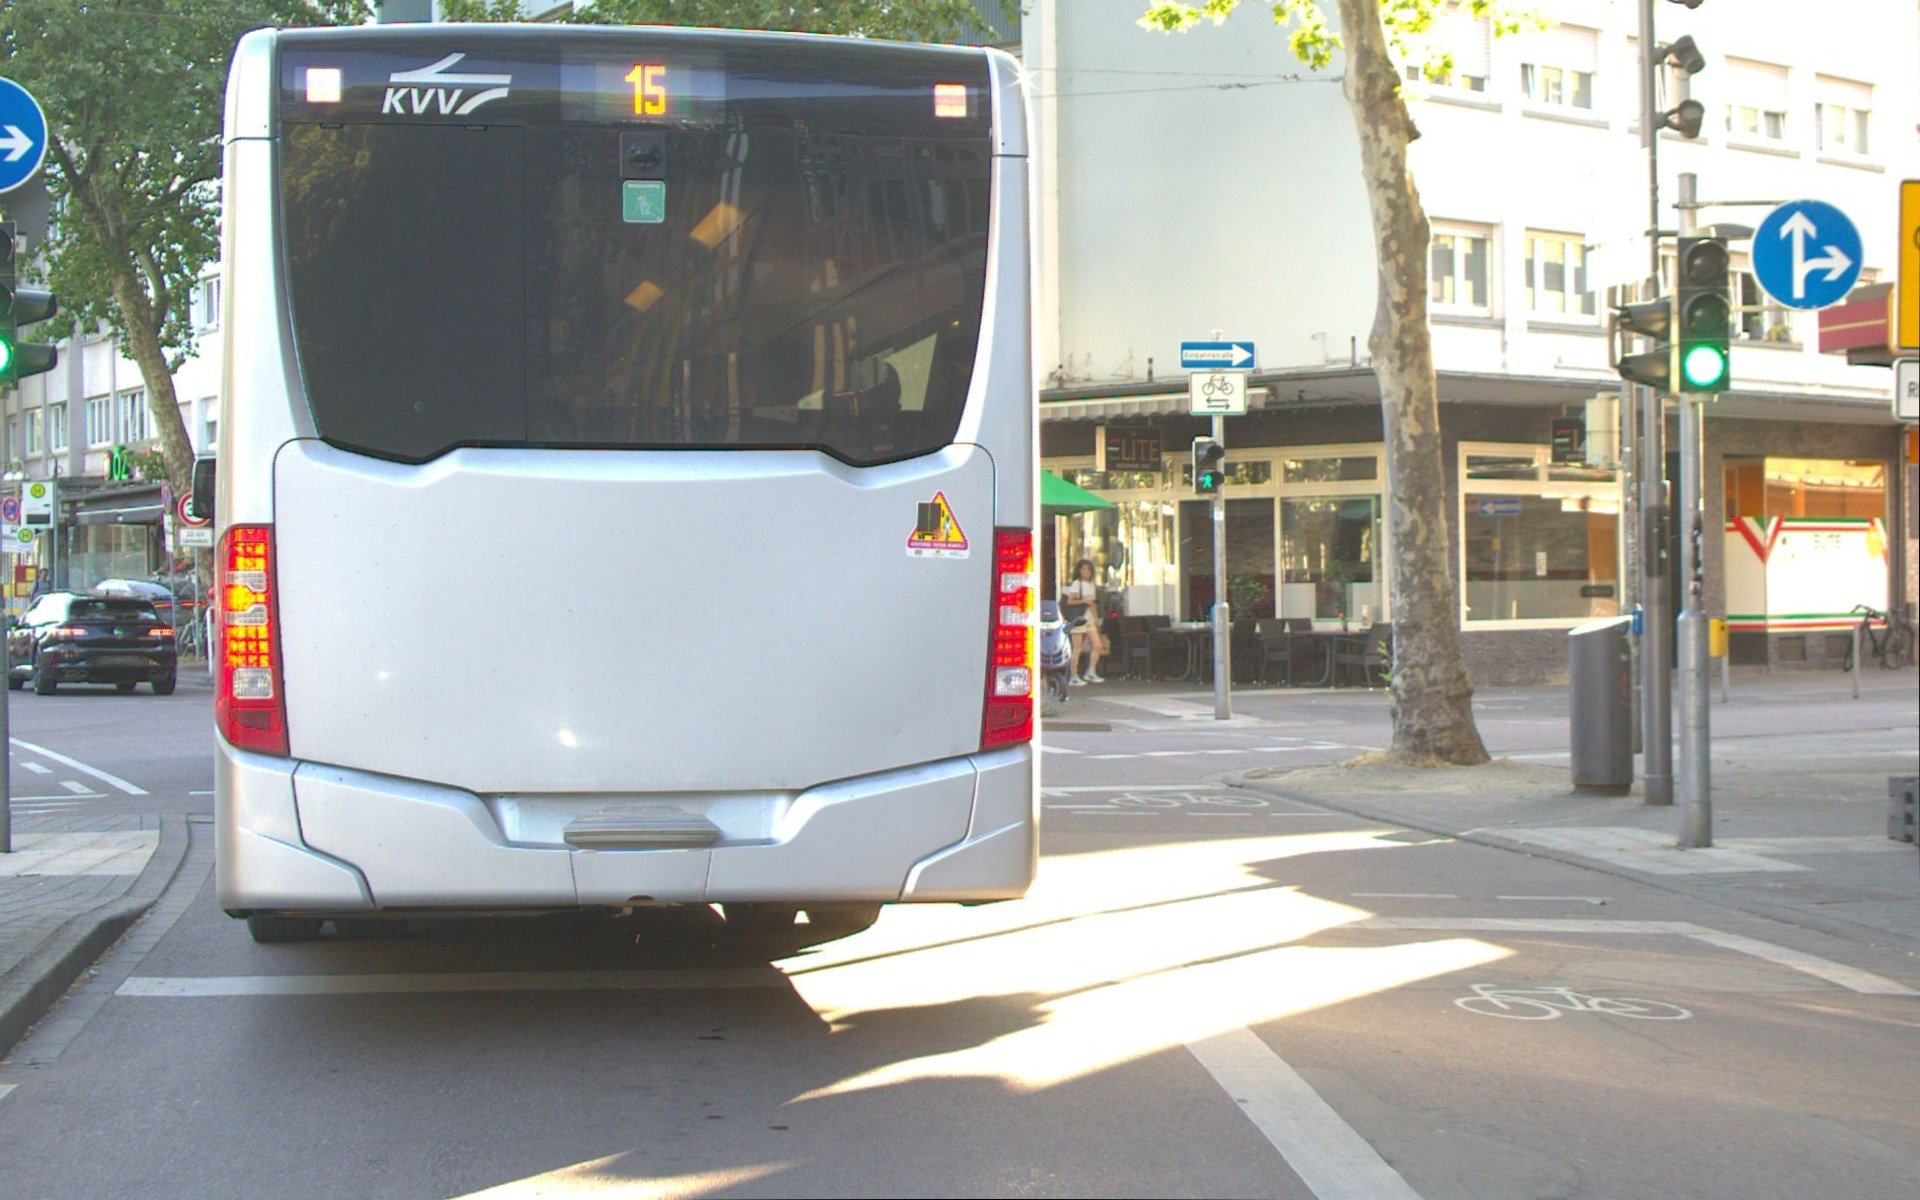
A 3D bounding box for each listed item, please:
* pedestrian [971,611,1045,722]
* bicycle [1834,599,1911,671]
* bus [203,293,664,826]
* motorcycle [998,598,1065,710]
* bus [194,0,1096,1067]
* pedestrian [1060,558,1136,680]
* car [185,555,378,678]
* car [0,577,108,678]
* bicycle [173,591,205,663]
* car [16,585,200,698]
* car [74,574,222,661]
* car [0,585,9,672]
[{"bbox_3d":[0.547,0.764,39.591,0.550,1.239,0.732,1,0,-26],"label":"pedestrian"},{"bbox_3d":[13.481,0.518,50.760,0.294,1.037,1.714,-3,-2,43],"label":"bicycle"},{"bbox_3d":[-4.130,-0.245,25.160,2.657,3.088,10.218,0,0,-12],"label":"bus"},{"bbox_3d":[0.750,0.562,36.493,0.570,1.154,1.461,1,0,-3],"label":"motorcycle"},{"bbox_3d":[-1.955,-0.212,15.157,2.657,3.088,10.218,0,0,-12],"label":"bus"},{"bbox_3d":[1.778,0.246,44.200,0.716,1.543,0.602,2,0,45],"label":"pedestrian"},{"bbox_3d":[-9.378,0.209,47.358,1.759,1.622,3.612,0,0,-25],"label":"car"},{"bbox_3d":[-14.192,0.387,52.202,1.755,1.459,4.001,-1,0,-24],"label":"car"},{"bbox_3d":[-13.492,0.462,60.142,0.507,1.207,2.093,0,0,-13],"label":"bicycle"},{"bbox_3d":[-11.651,0.530,46.867,1.755,1.459,4.001,-1,0,-24],"label":"car"},{"bbox_3d":[-15.013,0.299,63.486,1.662,1.463,3.413,-4,3,-30],"label":"car"},{"bbox_3d":[-17.664,0.481,59.090,1.756,1.459,4.000,-1,0,-27],"label":"car"}]
